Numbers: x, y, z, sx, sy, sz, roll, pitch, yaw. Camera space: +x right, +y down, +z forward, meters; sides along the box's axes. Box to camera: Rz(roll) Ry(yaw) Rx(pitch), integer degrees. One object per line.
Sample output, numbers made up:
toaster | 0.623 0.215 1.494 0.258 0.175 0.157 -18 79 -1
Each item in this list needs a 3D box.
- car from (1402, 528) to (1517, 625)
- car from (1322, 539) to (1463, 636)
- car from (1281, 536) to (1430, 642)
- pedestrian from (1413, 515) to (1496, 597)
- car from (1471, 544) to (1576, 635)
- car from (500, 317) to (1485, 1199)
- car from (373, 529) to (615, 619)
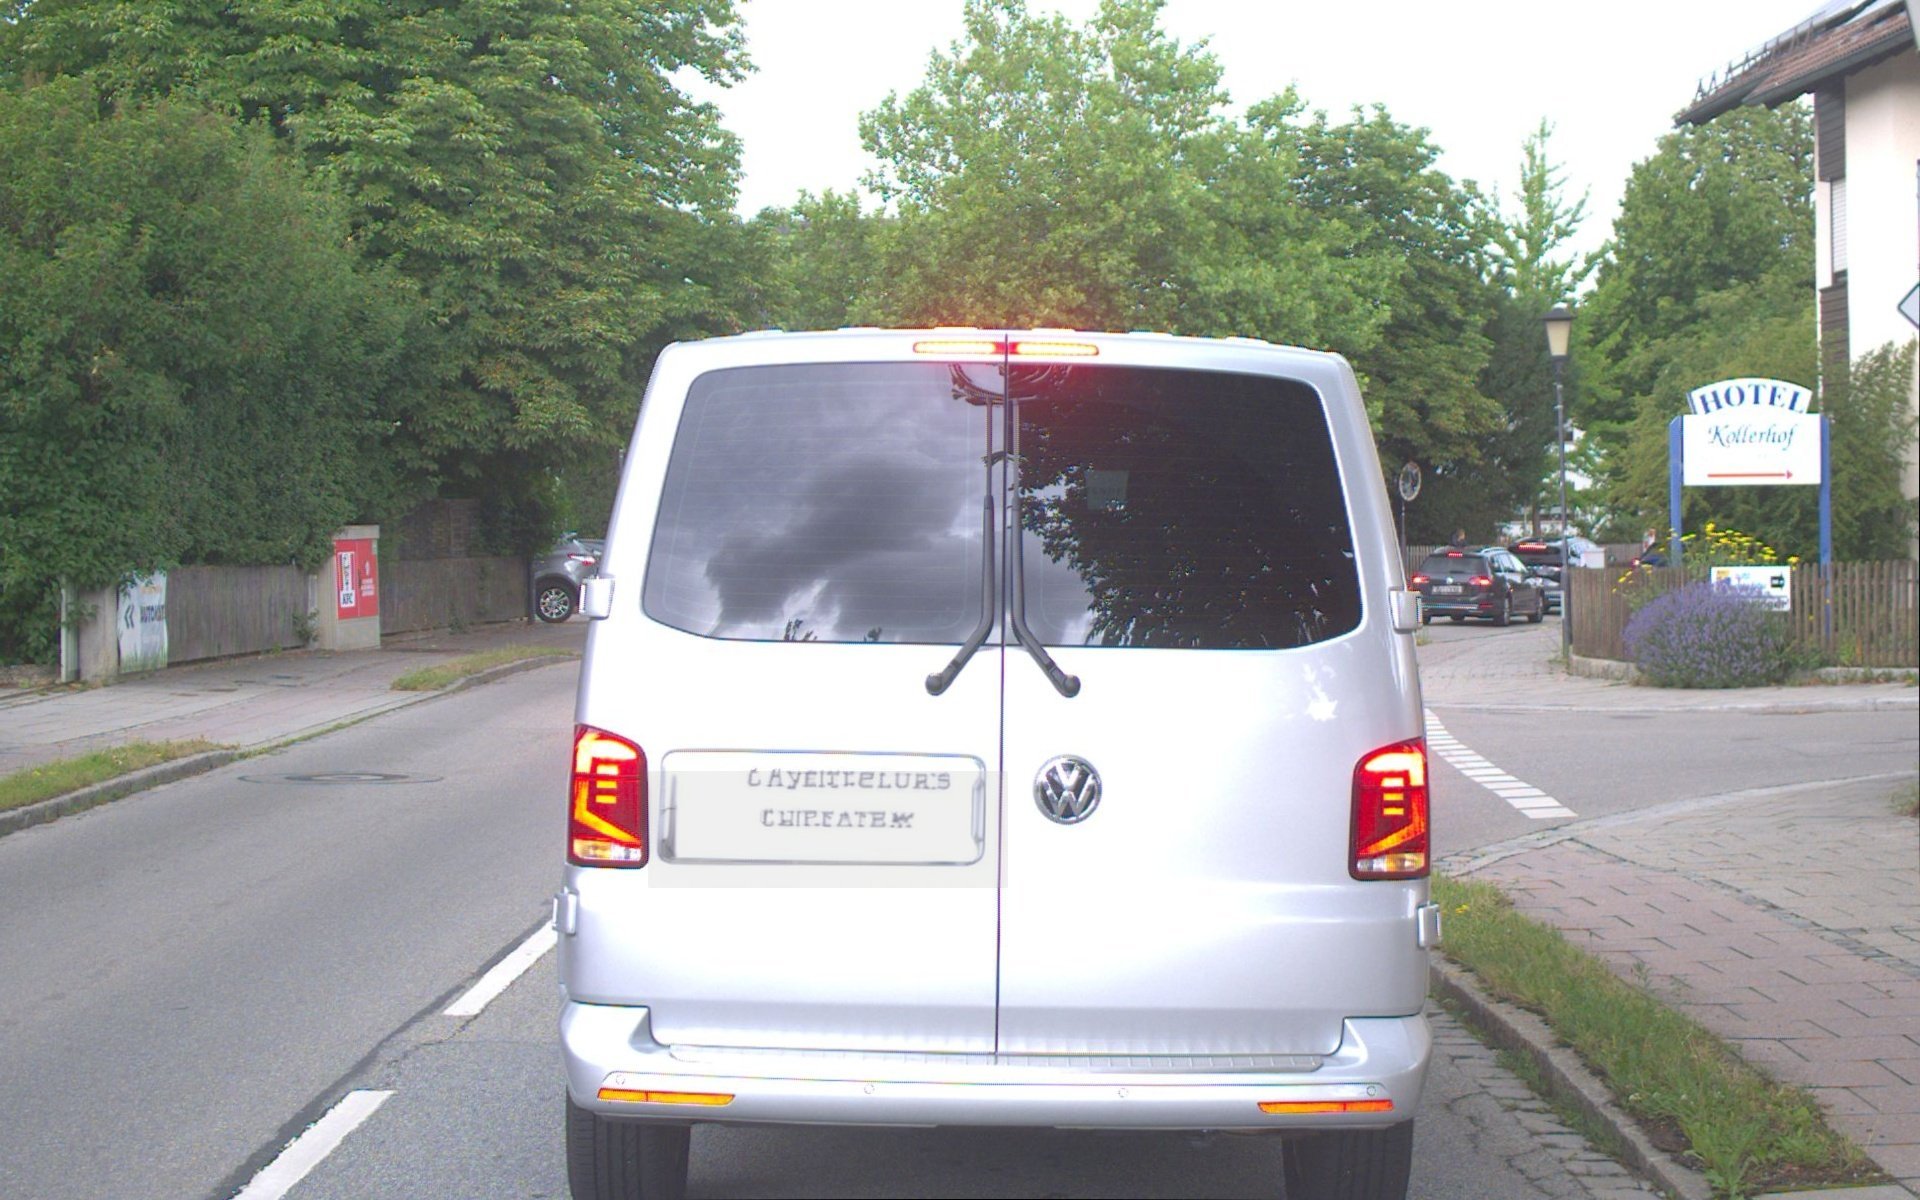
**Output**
car | 9.502 -0.467 65.185 1.882 1.742 4.078 -1 1 12
car | 7.146 -0.232 56.536 1.882 1.530 3.918 0 1 13
car | 5.977 -0.188 51.645 1.882 1.530 3.919 0 1 11
pedestrian | 12.250 -1.096 85.233 1.359 2.007 1.520 -1 1 -39
car | 11.809 -0.243 71.902 1.882 1.819 3.918 0 1 14
car | 0.068 0.396 8.575 1.881 1.934 3.921 0 1 0
car | -7.879 -0.453 58.153 3.986 1.481 2.001 0 1 -8
